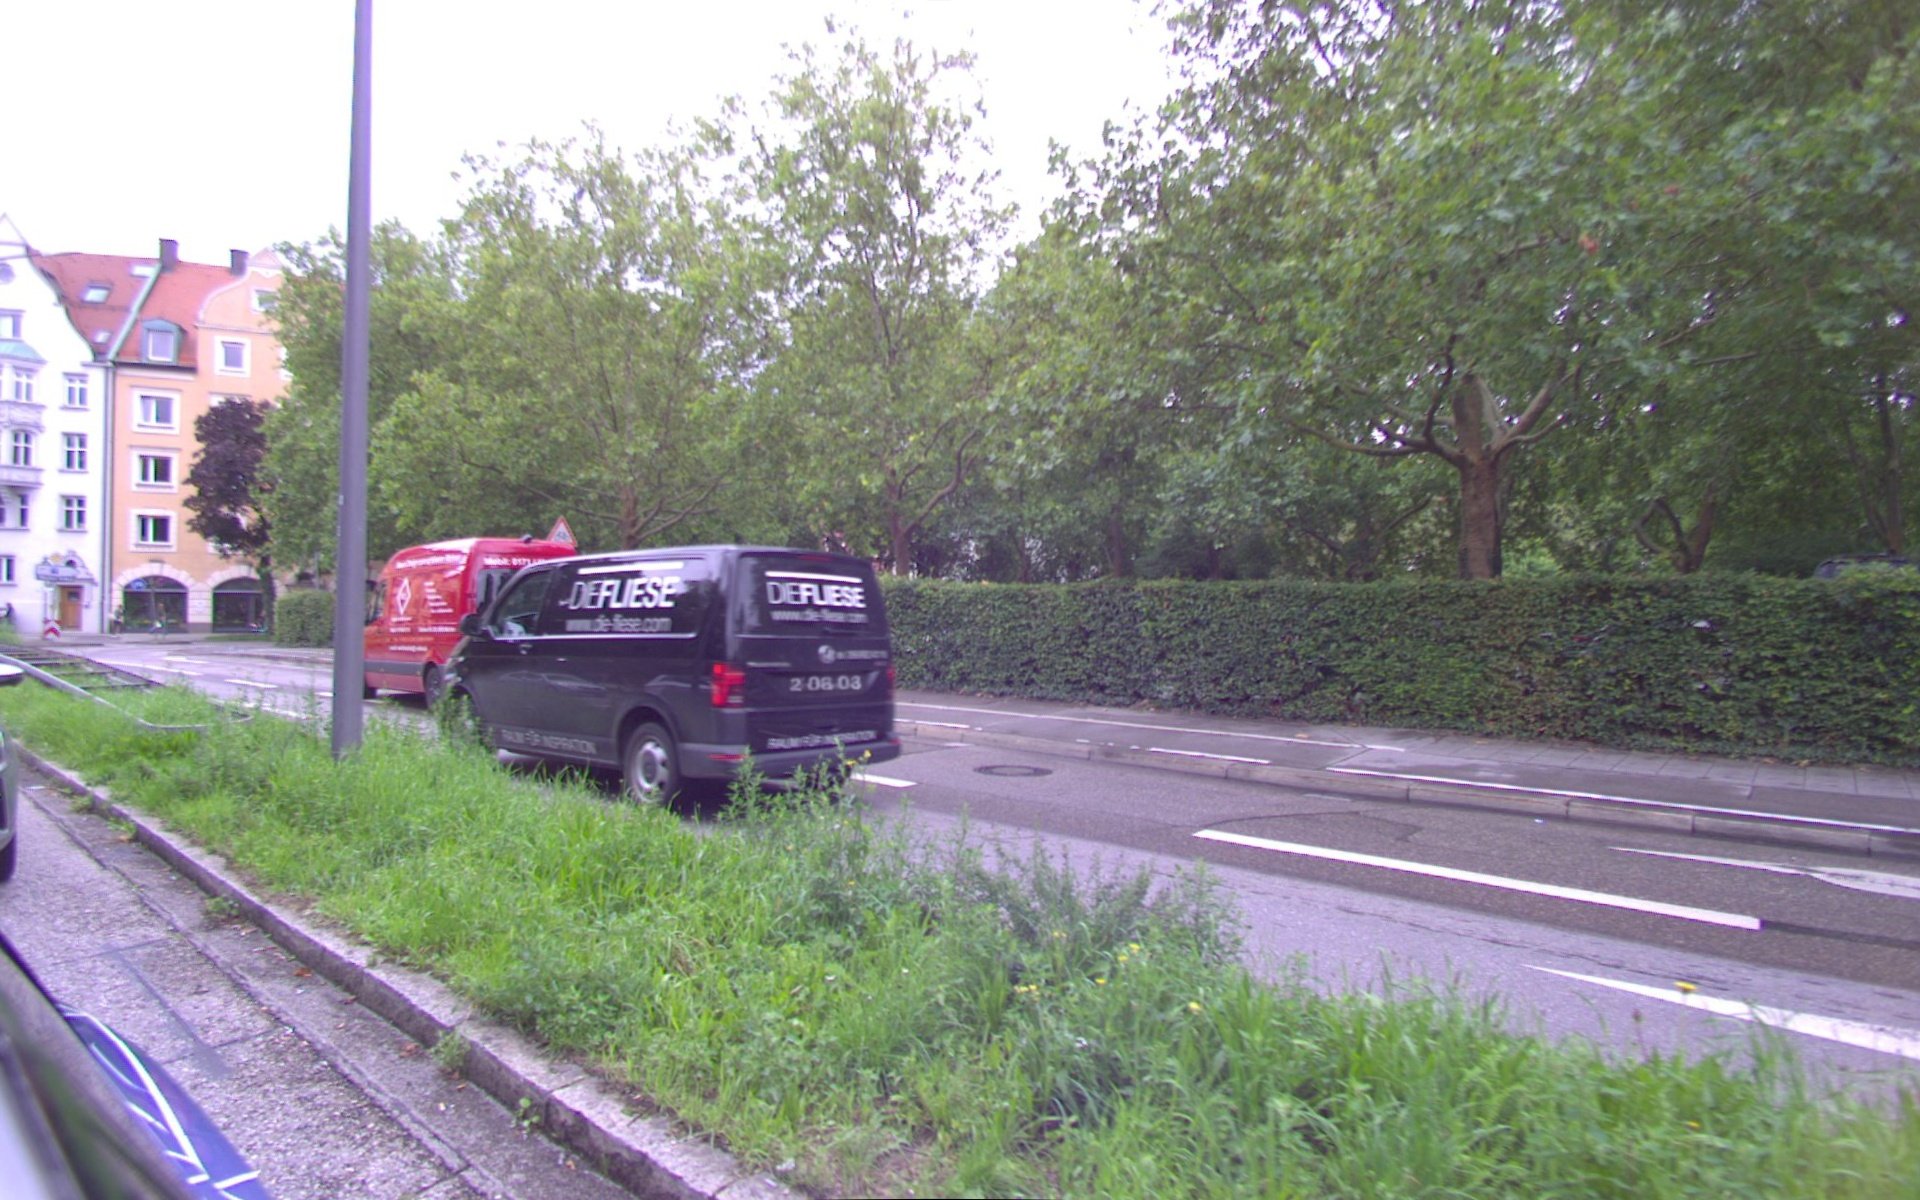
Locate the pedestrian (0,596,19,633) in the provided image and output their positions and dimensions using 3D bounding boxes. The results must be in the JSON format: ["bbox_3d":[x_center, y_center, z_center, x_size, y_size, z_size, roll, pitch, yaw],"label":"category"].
[{"bbox_3d":[-53.478,0.806,56.586,0.991,2.029,0.881,0,0,-18],"label":"pedestrian"}]

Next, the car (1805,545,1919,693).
[{"bbox_3d":[18.219,0.299,19.979,2.001,2.554,5.779,0,1,44],"label":"car"}]

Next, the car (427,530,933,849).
[{"bbox_3d":[-2.583,0.604,8.611,4.702,2.006,1.838,-1,-2,41],"label":"car"}]

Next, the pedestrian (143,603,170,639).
[{"bbox_3d":[-46.860,1.215,59.047,0.991,2.029,0.881,0,0,-18],"label":"pedestrian"}]

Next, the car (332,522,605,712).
[{"bbox_3d":[-8.294,0.356,16.725,6.082,2.609,2.079,-3,-4,44],"label":"car"}]

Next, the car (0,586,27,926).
[{"bbox_3d":[-6.325,0.707,5.264,3.884,1.541,1.688,-1,-2,40],"label":"car"}]
